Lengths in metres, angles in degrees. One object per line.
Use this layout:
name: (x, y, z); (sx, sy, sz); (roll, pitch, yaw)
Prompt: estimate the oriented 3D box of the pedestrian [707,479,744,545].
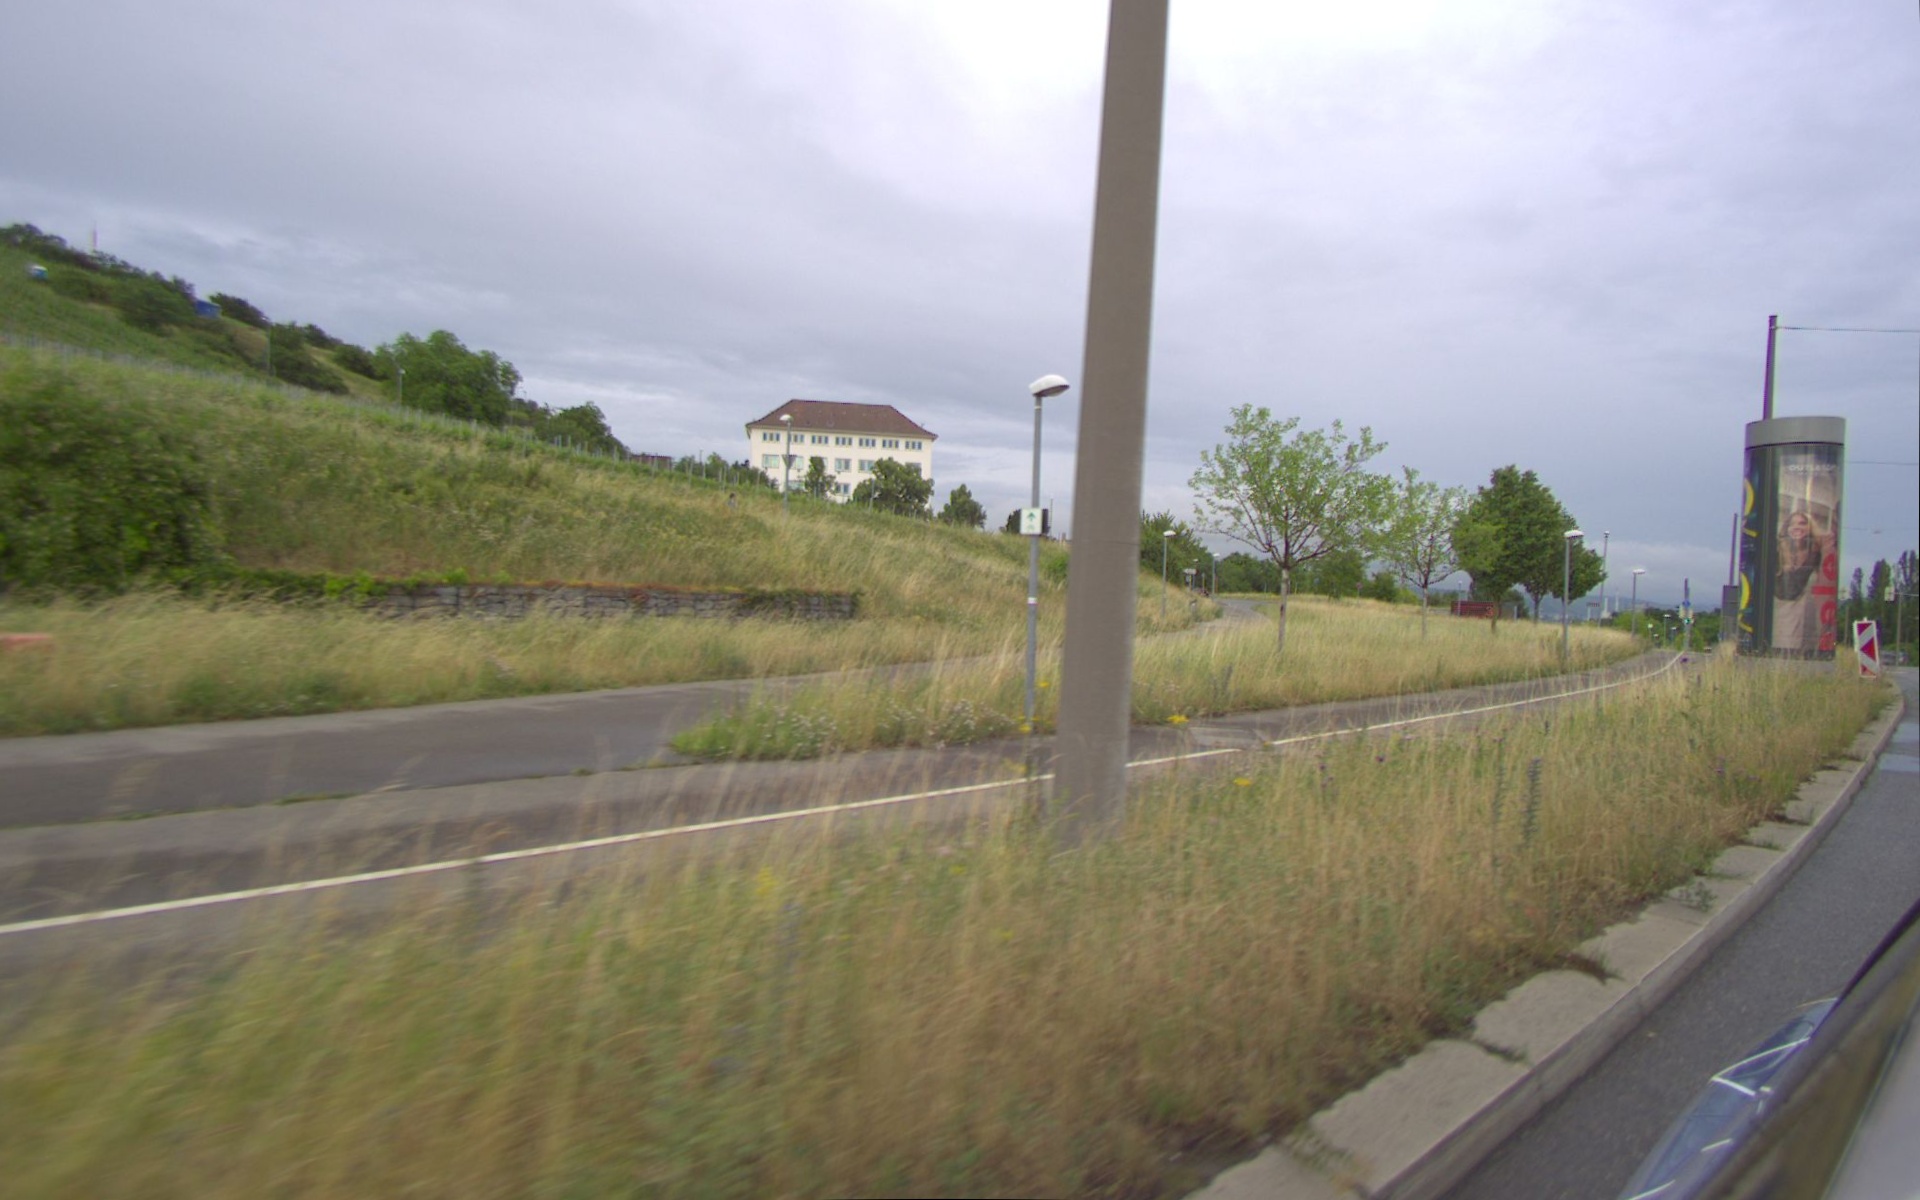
pedestrian: (-7.772, -2.911, 33.552); (0.767, 2.039, 1.054); (4, -1, 4)
